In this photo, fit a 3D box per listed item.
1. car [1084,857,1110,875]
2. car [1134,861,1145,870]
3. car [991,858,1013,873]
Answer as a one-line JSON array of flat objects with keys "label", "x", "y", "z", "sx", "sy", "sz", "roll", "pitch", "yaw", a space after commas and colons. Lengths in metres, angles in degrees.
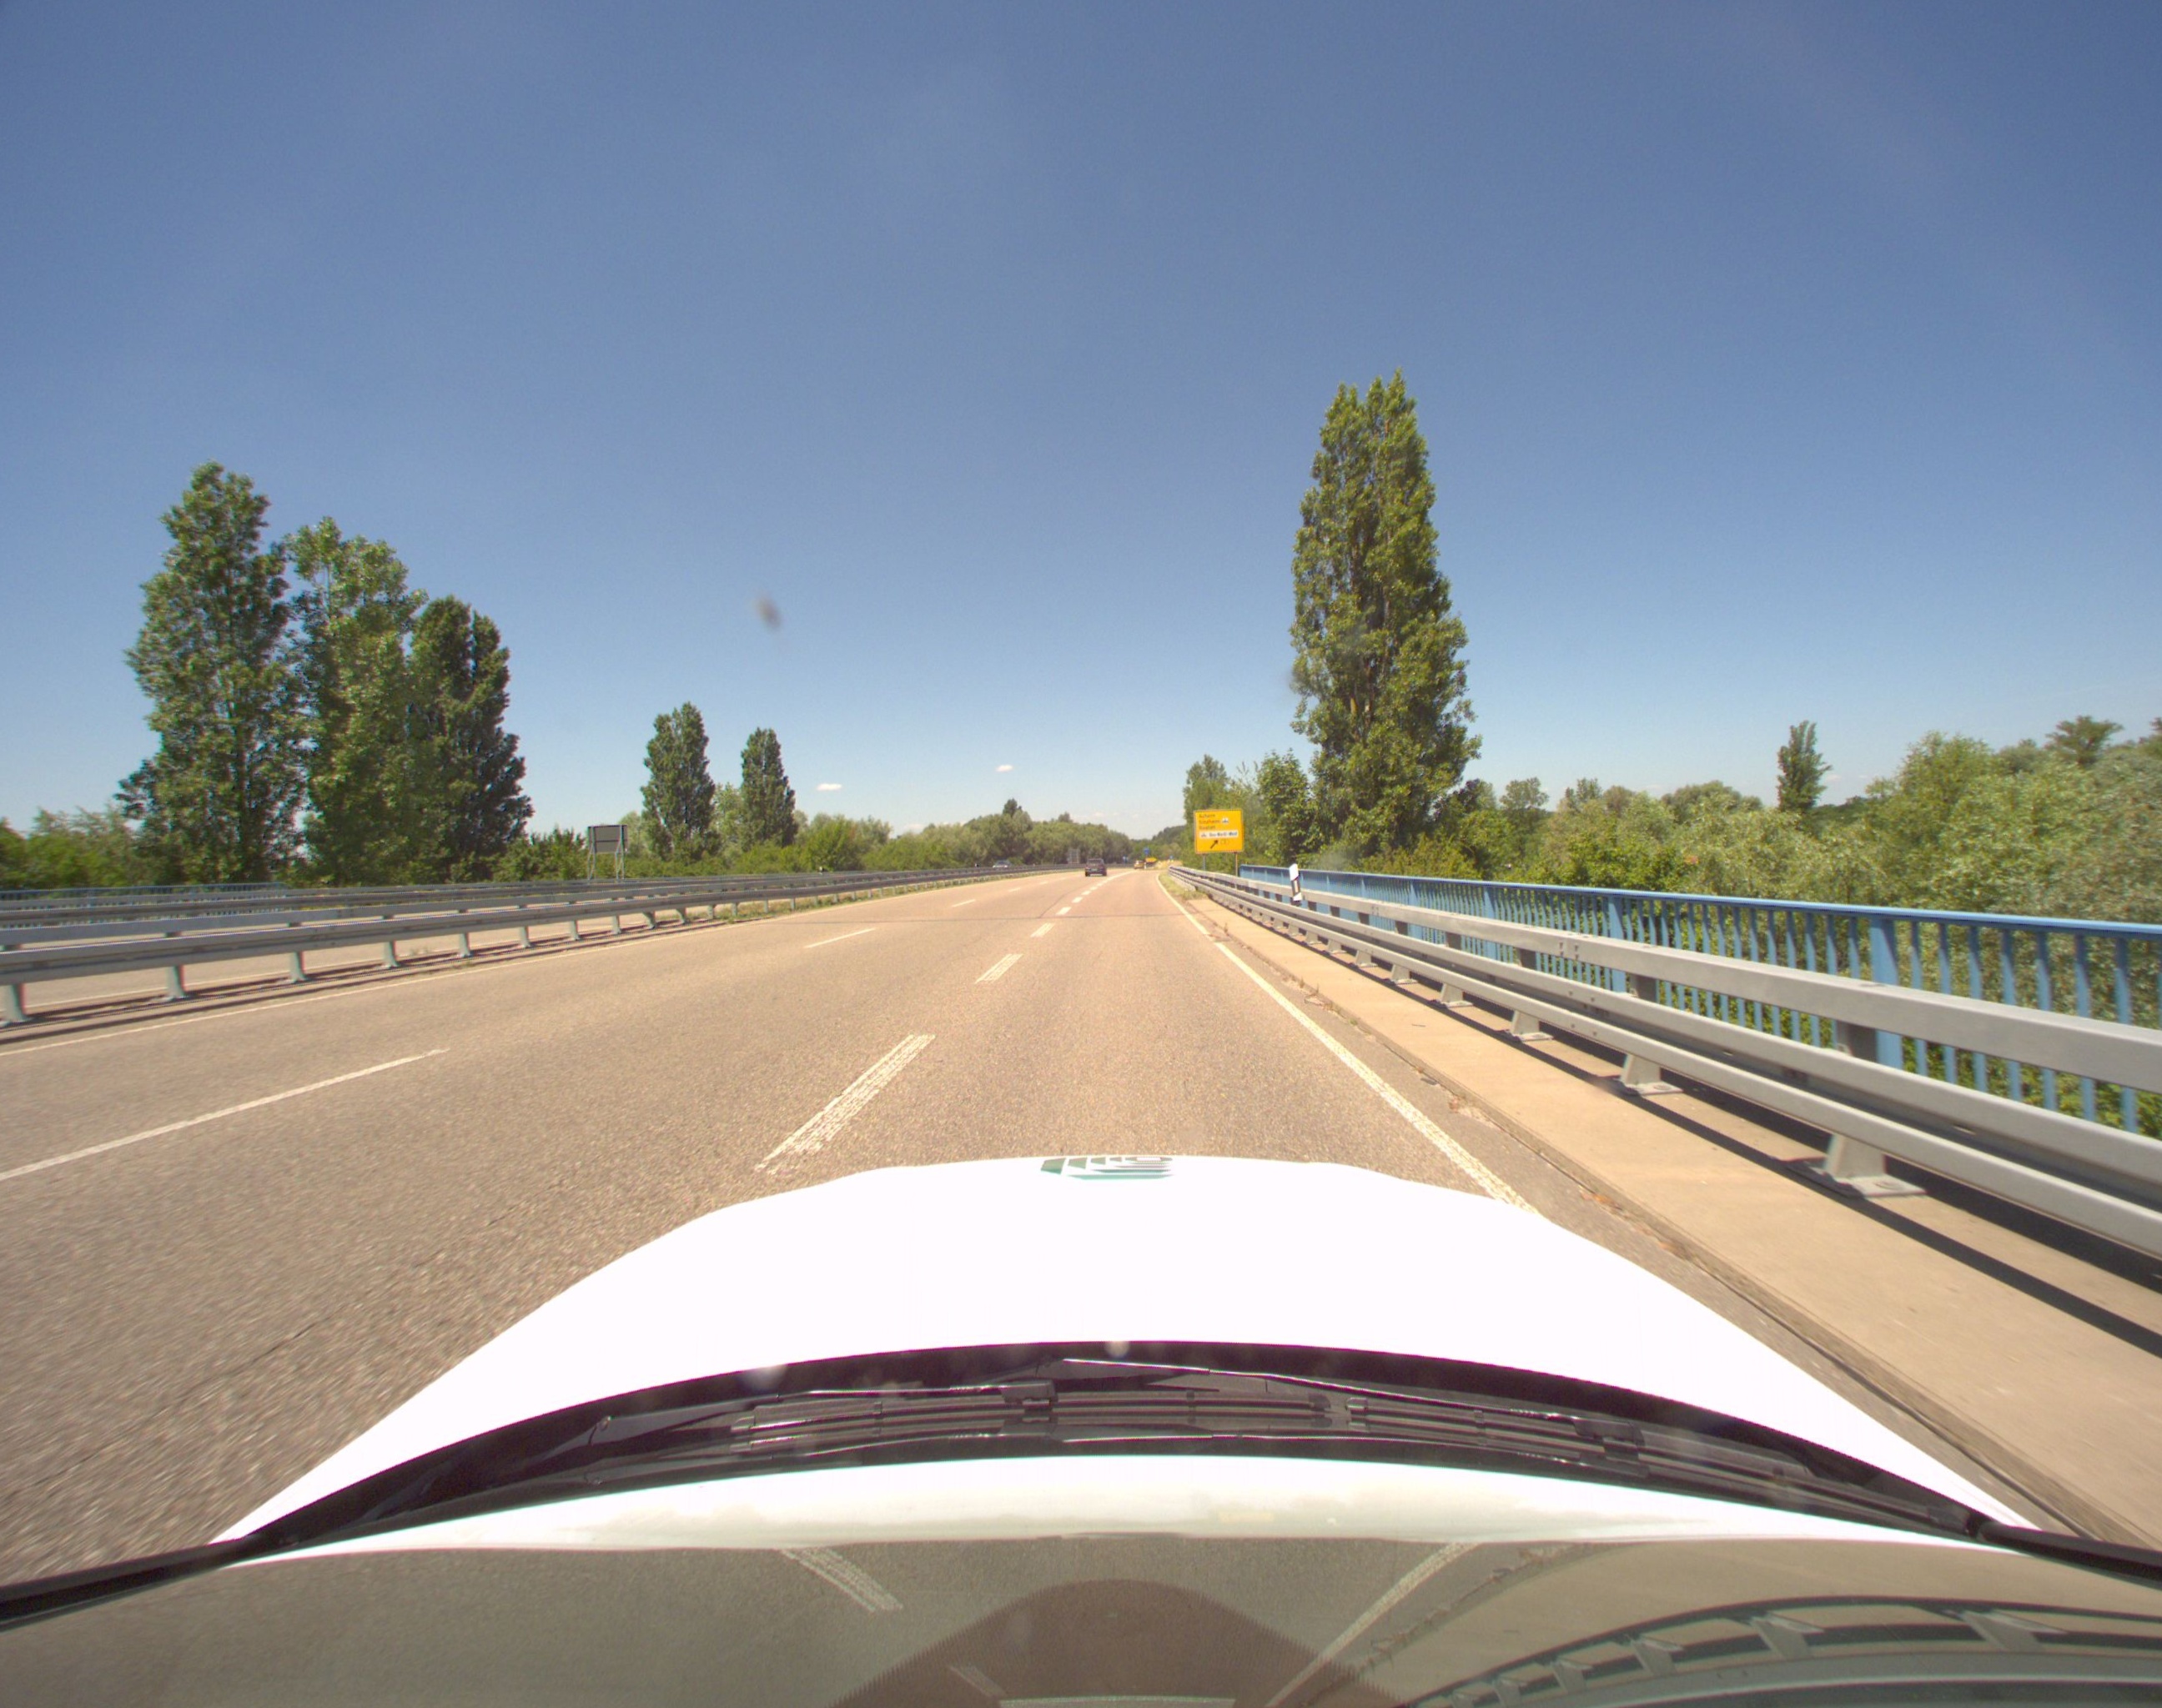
[{"label": "car", "x": 1.482, "y": 1.036, "z": 73.517, "sx": 1.831, "sy": 1.530, "sz": 4.479, "roll": 0, "pitch": 0, "yaw": 7}, {"label": "car", "x": 10.385, "y": 2.030, "z": 145.093, "sx": 1.832, "sy": 1.464, "sz": 4.007, "roll": 0, "pitch": 0, "yaw": 6}, {"label": "car", "x": -9.339, "y": 1.362, "z": 96.109, "sx": 1.817, "sy": 1.647, "sz": 4.193, "roll": -2, "pitch": -1, "yaw": 4}]
